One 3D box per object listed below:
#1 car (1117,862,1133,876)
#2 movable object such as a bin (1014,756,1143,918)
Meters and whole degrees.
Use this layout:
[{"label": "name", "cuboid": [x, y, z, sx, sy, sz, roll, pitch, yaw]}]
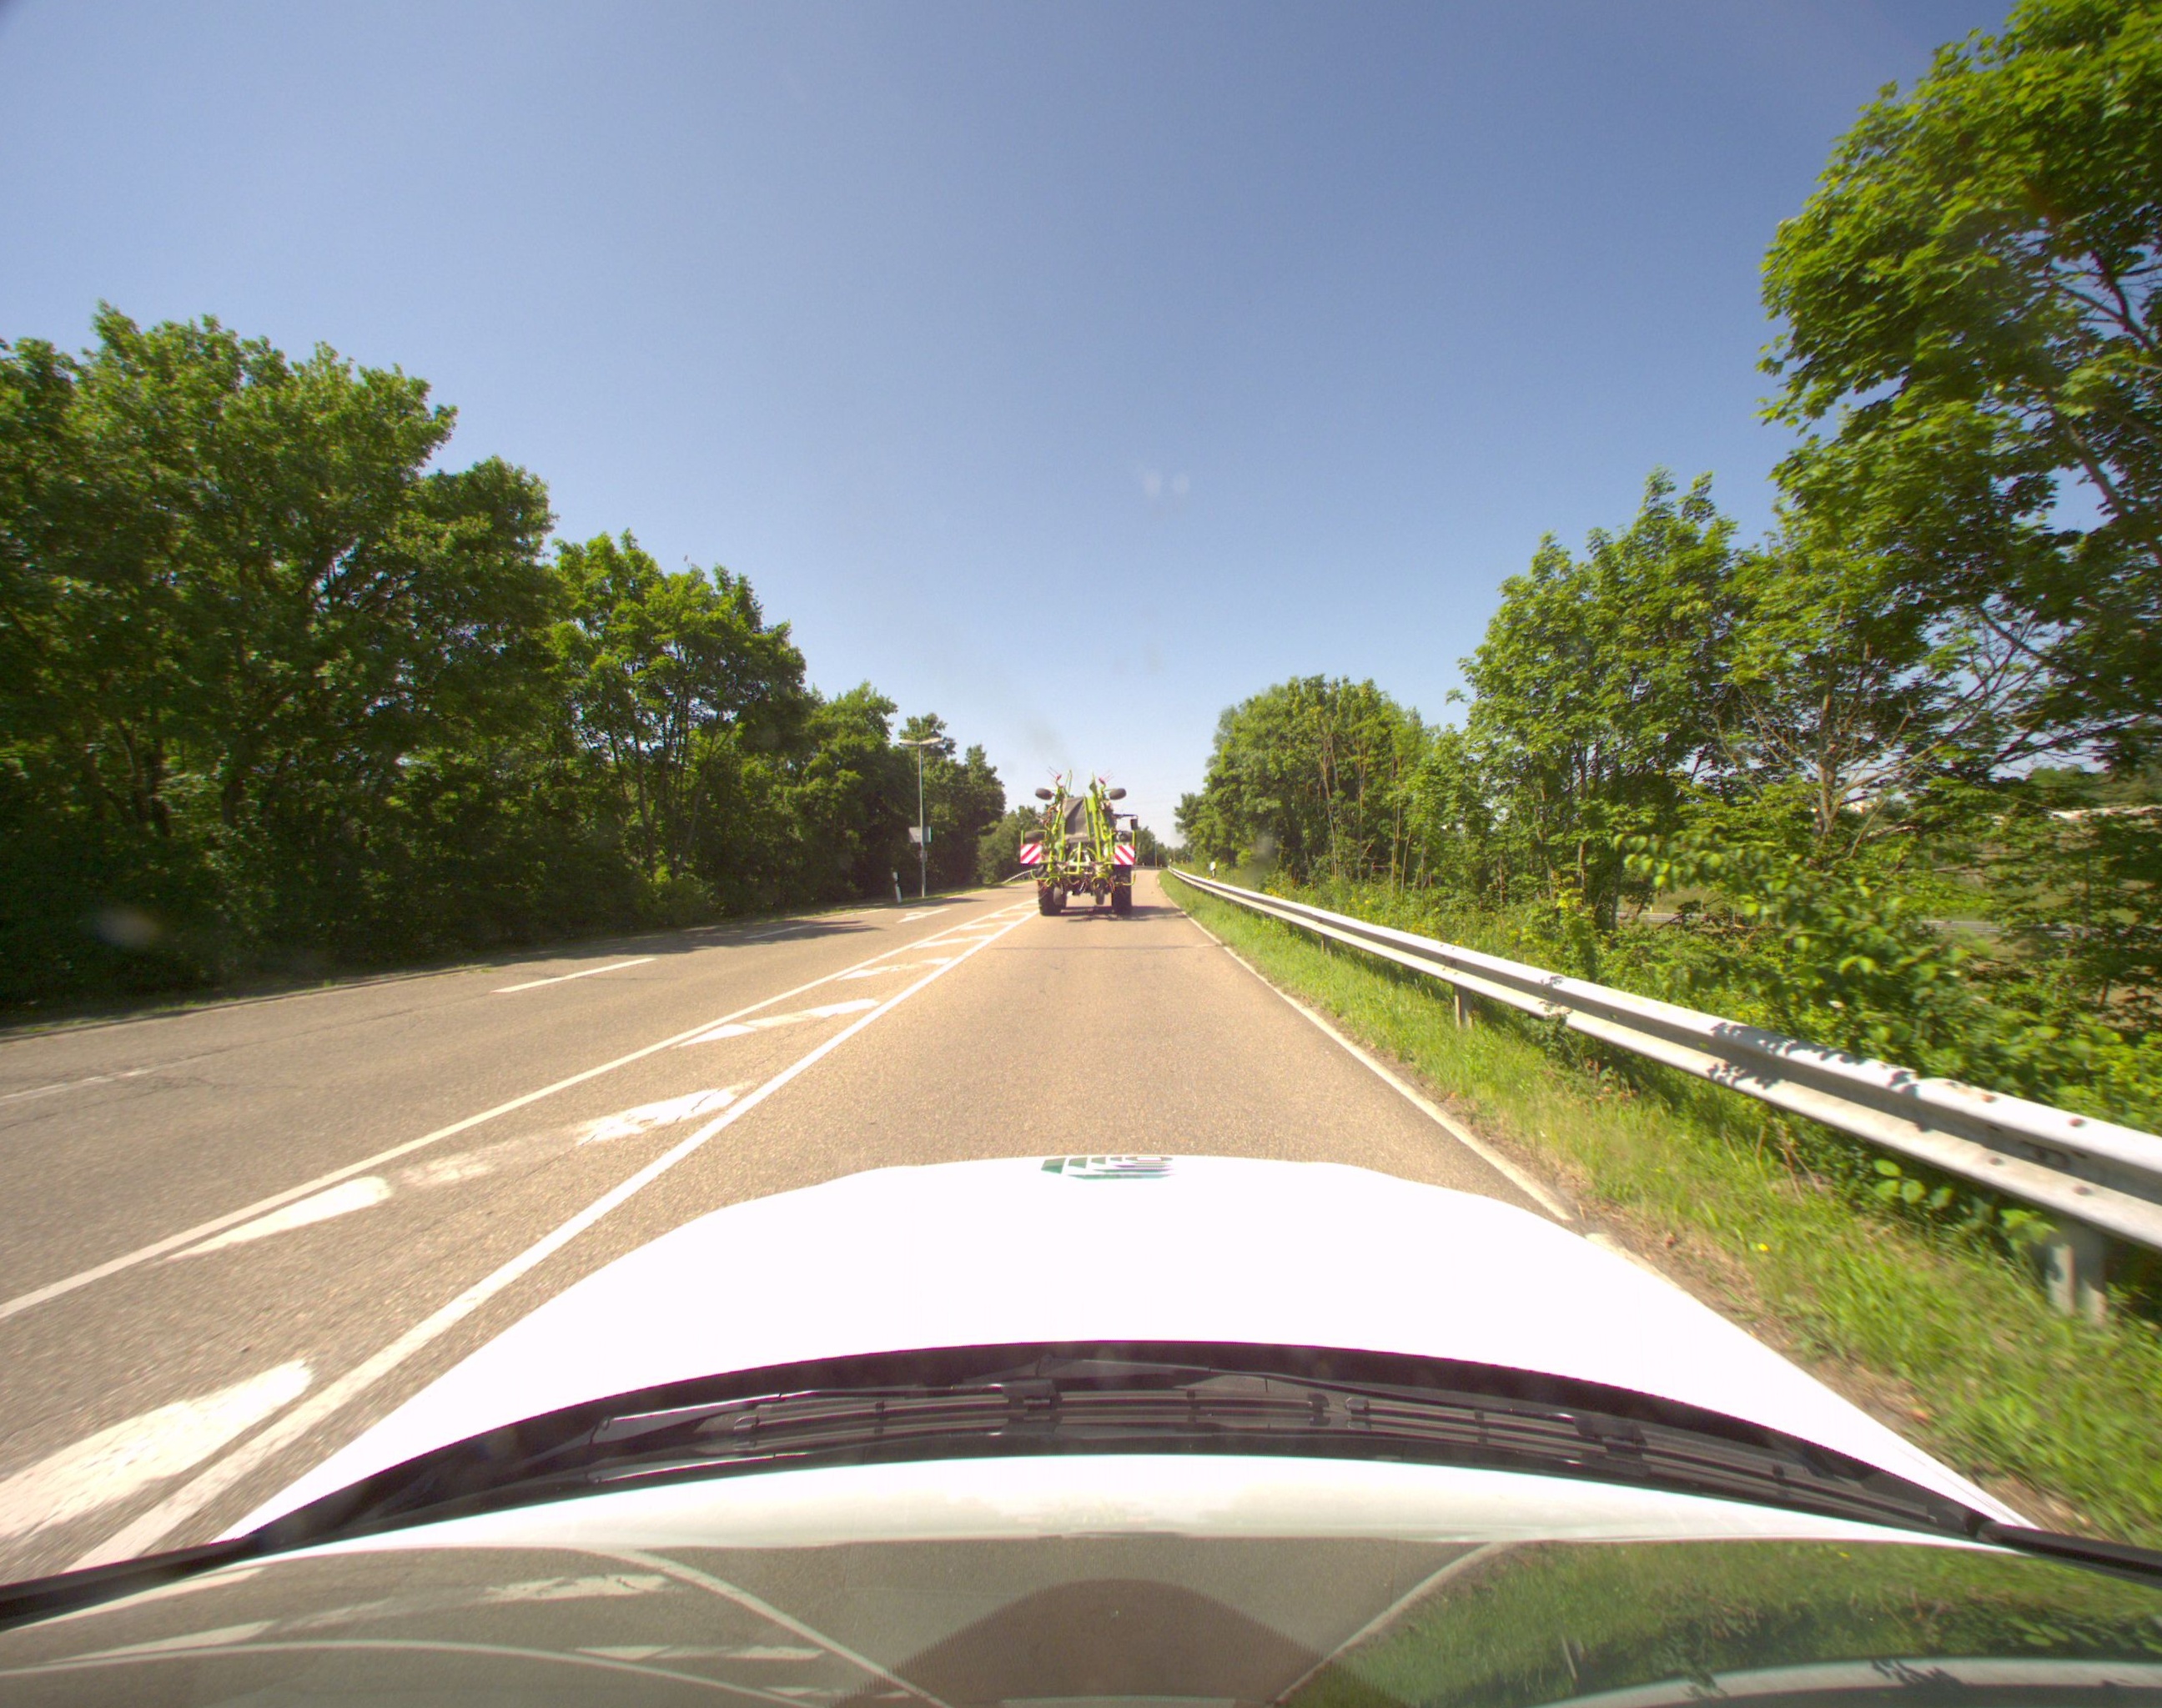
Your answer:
[{"label": "car", "cuboid": [5.389, 1.832, 99.243, 1.732, 1.456, 3.892, 4, -1, 4]}, {"label": "movable object such as a bin", "cuboid": [0.121, -0.316, 20.324, 2.743, 3.444, 5.675, -1, -1, 4]}]
